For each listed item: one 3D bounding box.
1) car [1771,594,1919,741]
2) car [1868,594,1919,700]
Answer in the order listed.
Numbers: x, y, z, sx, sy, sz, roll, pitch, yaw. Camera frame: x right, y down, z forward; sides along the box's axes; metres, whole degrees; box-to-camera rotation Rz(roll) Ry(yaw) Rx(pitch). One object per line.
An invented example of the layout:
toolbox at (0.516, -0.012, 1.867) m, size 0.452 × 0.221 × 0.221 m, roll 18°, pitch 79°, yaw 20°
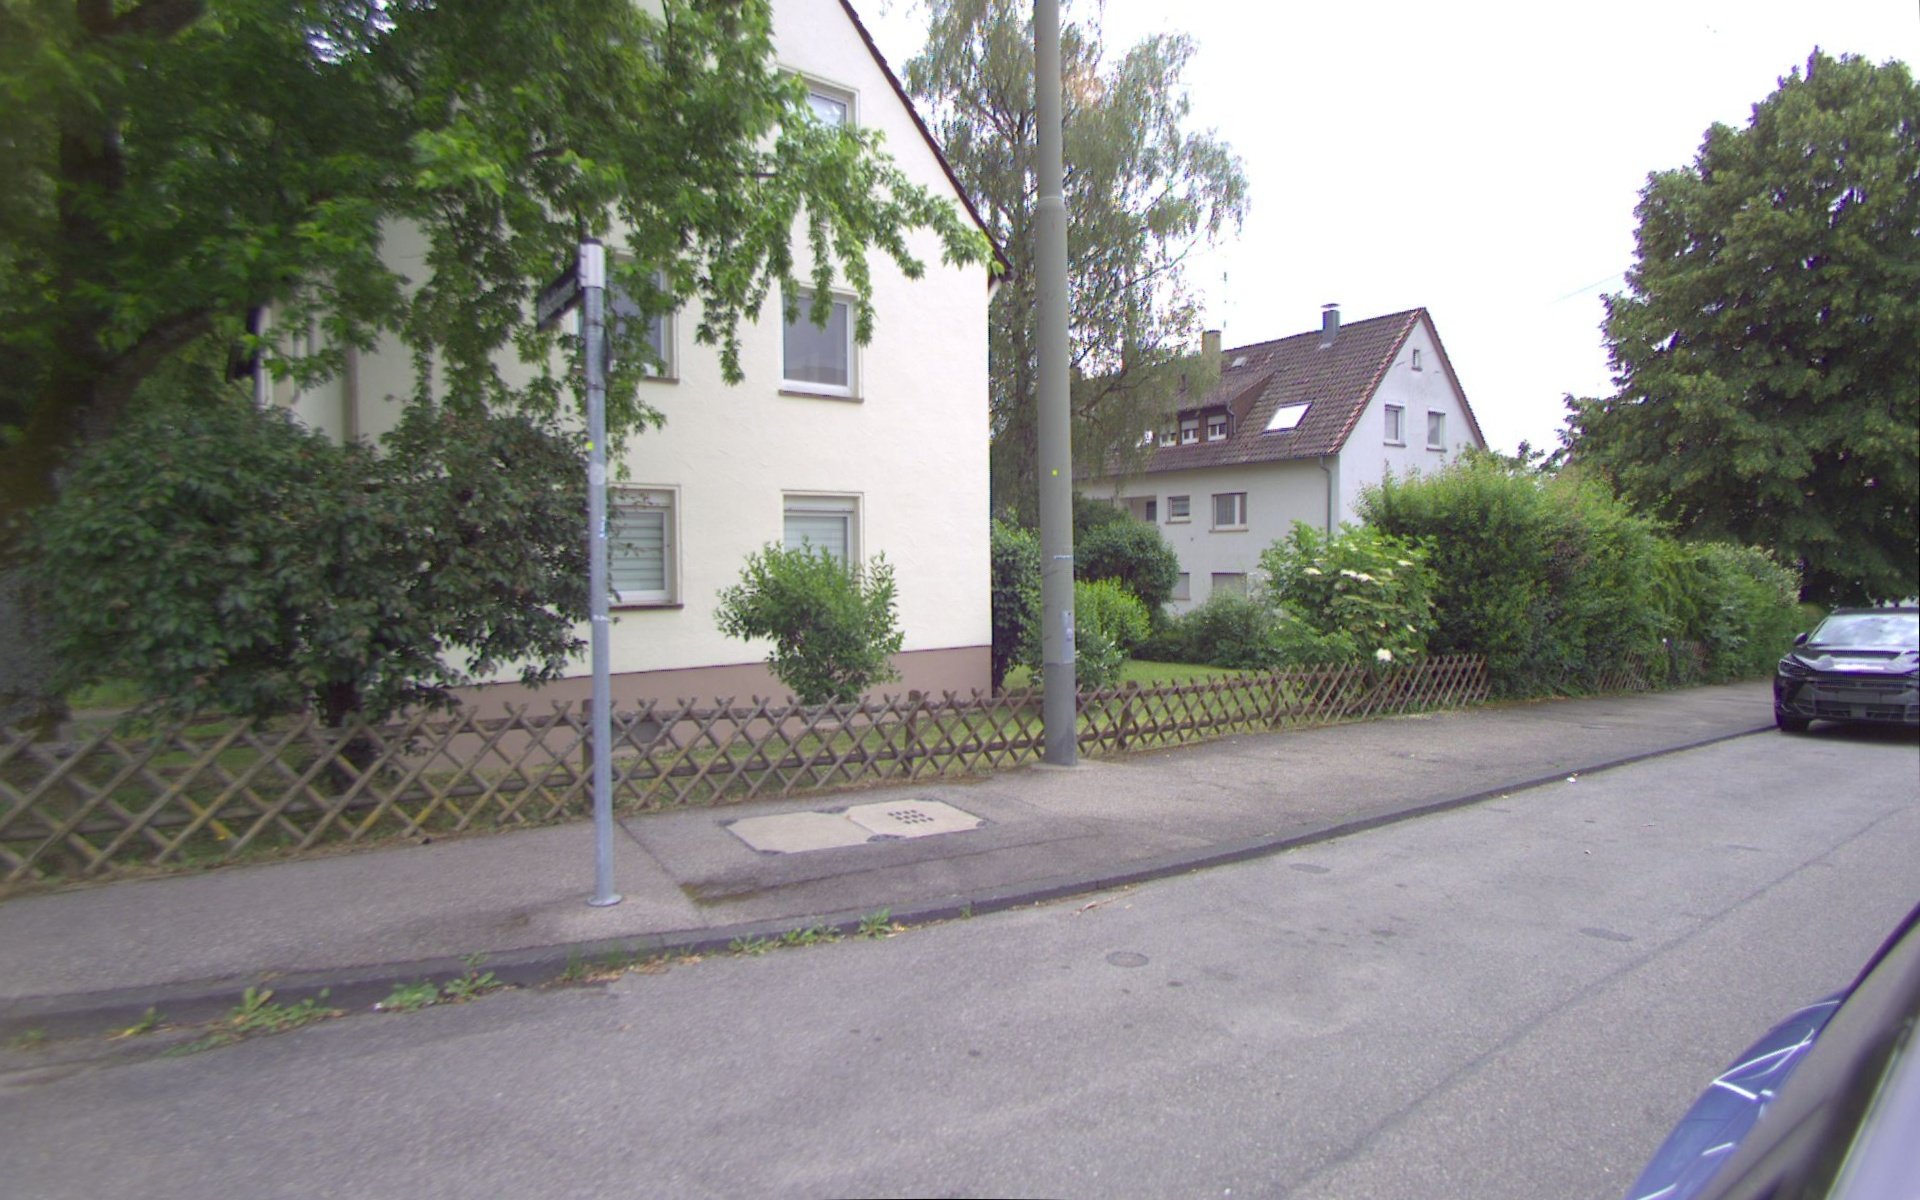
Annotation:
car at (12.201, 0.740, 13.017) m, size 4.457 × 1.636 × 1.815 m, roll 0°, pitch 0°, yaw -39°
car at (16.795, 0.714, 16.696) m, size 4.457 × 1.636 × 1.998 m, roll 0°, pitch 0°, yaw -39°
